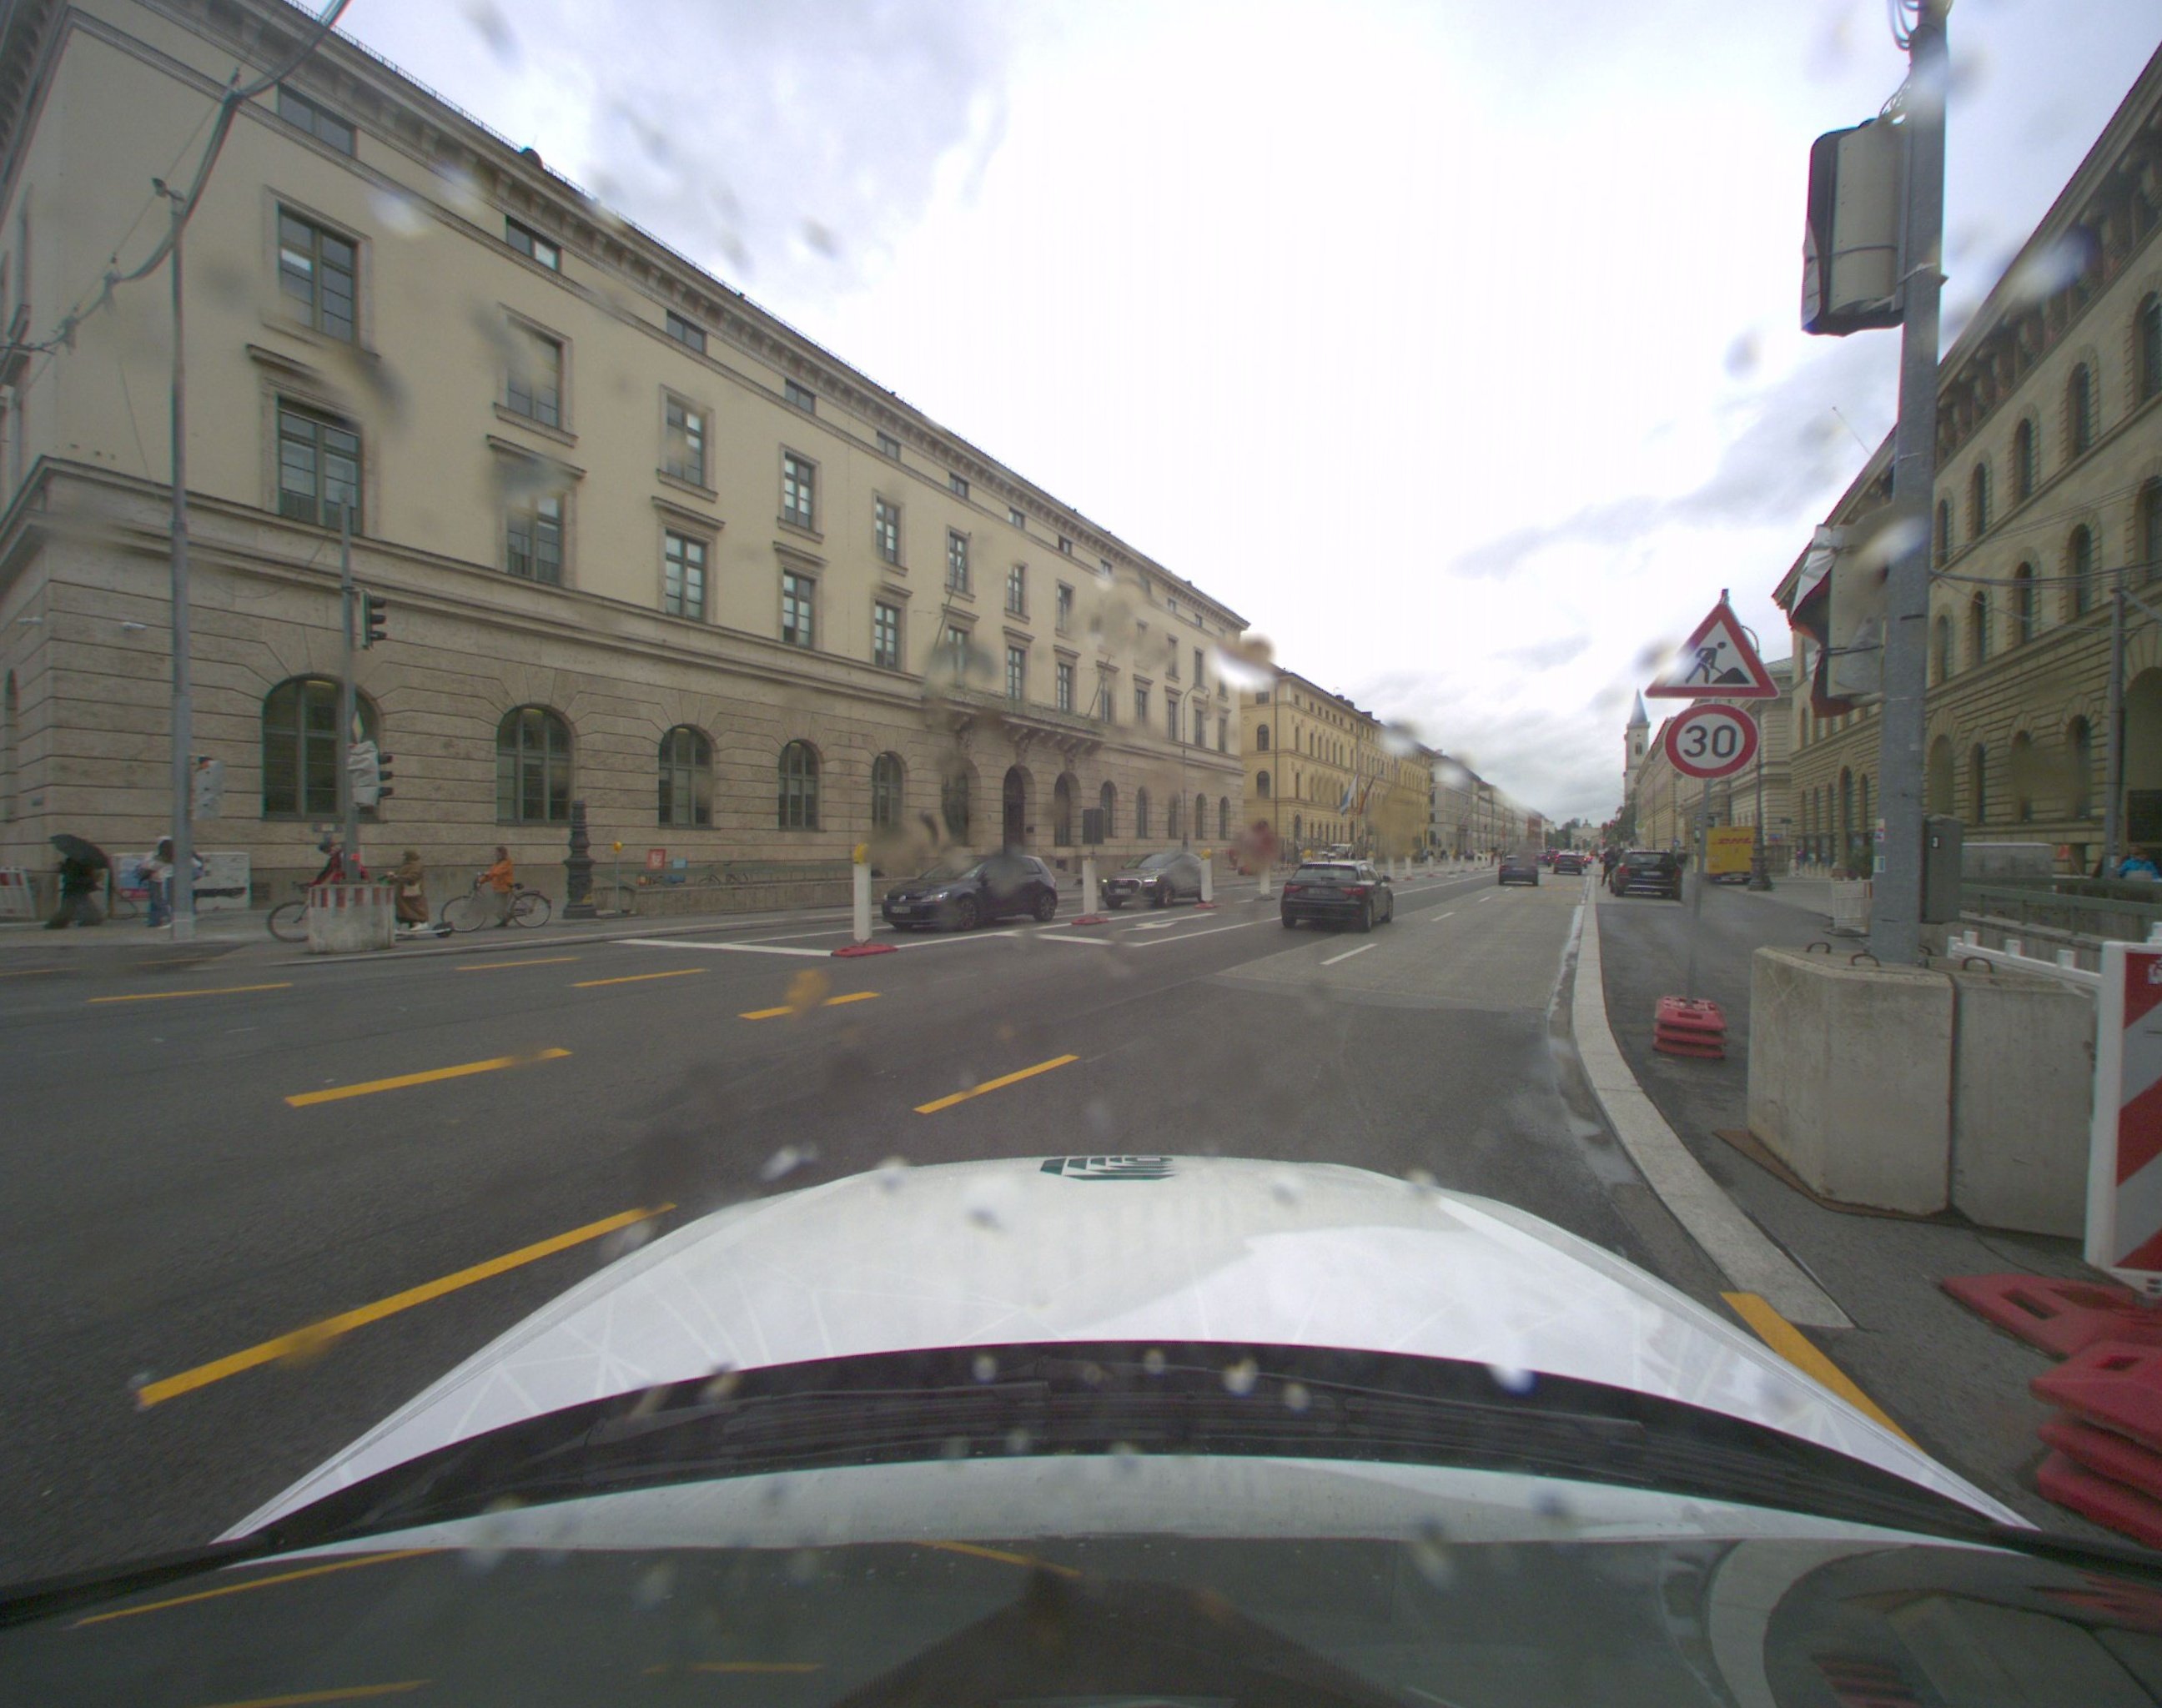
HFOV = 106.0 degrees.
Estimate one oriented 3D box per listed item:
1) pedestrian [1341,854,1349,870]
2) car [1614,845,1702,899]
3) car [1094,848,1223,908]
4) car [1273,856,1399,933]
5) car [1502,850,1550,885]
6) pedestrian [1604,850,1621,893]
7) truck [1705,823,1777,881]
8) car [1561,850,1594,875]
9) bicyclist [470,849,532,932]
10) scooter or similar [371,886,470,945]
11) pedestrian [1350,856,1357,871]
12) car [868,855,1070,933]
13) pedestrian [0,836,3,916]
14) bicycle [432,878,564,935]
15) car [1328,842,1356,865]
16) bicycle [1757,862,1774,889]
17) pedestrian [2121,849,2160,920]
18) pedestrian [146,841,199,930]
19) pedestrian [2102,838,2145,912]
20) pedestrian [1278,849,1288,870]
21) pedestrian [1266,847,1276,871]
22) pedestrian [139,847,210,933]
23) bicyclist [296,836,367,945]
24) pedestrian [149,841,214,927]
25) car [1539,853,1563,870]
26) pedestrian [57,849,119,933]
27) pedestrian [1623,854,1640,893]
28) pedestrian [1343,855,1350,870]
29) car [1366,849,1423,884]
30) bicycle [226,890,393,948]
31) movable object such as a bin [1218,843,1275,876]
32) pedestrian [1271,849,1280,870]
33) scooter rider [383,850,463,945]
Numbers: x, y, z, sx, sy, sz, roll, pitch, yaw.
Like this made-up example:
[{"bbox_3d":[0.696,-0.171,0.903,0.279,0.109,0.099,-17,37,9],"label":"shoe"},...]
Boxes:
[{"bbox_3d":[24.508,0.746,75.616,0.547,1.530,0.621,0,-1,29],"label":"pedestrian"},{"bbox_3d":[19.638,0.559,27.880,2.049,1.661,4.249,1,0,30],"label":"car"},{"bbox_3d":[2.350,0.651,23.472,1.768,1.567,4.605,-2,-1,32],"label":"car"},{"bbox_3d":[5.538,0.770,17.372,1.846,1.388,4.024,1,0,28],"label":"car"},{"bbox_3d":[21.970,0.669,40.126,1.752,1.617,4.025,0,-1,33],"label":"car"},{"bbox_3d":[23.423,0.757,35.897,0.609,1.875,0.545,0,-1,37],"label":"pedestrian"},{"bbox_3d":[33.522,-0.044,41.532,2.597,2.765,5.843,0,-1,36],"label":"truck"},{"bbox_3d":[36.932,0.618,60.494,1.974,1.772,4.025,0,0,33],"label":"car"},{"bbox_3d":[-11.620,0.711,16.321,0.785,1.615,0.751,0,-1,35],"label":"bicyclist"},{"bbox_3d":[-11.719,1.066,14.480,0.580,0.965,1.222,0,-1,34],"label":"scooter or similar"},{"bbox_3d":[26.619,0.914,79.618,0.534,1.411,0.621,0,-1,29],"label":"pedestrian"},{"bbox_3d":[-2.119,0.753,16.620,1.727,1.388,4.267,-2,-2,32],"label":"car"},{"bbox_3d":[-20.177,0.528,14.658,0.587,1.756,0.813,1,-1,-26],"label":"pedestrian"},{"bbox_3d":[-11.627,1.019,16.307,0.785,1.040,1.977,0,-1,35],"label":"bicycle"},{"bbox_3d":[26.758,-0.016,83.507,1.722,2.288,4.025,0,-1,33],"label":"car"},{"bbox_3d":[27.614,0.863,32.863,0.513,1.022,1.660,0,-1,39],"label":"bicycle"},{"bbox_3d":[23.523,0.665,18.082,0.634,1.554,0.494,2,-1,-40],"label":"pedestrian"},{"bbox_3d":[-17.554,0.594,15.740,0.535,1.672,0.621,0,-1,40],"label":"pedestrian"},{"bbox_3d":[24.759,0.487,19.343,0.679,1.712,0.553,1,-1,-32],"label":"pedestrian"},{"bbox_3d":[15.880,0.467,64.131,0.606,1.652,0.621,0,-1,29],"label":"pedestrian"},{"bbox_3d":[15.741,0.403,67.545,0.673,1.931,0.656,0,-1,29],"label":"pedestrian"},{"bbox_3d":[-16.996,0.661,15.276,0.658,1.557,0.825,0,-1,40],"label":"pedestrian"},{"bbox_3d":[-13.210,0.624,14.360,0.652,1.842,0.751,0,-1,35],"label":"bicyclist"},{"bbox_3d":[-18.164,0.591,16.446,0.809,1.694,0.722,0,-1,34],"label":"pedestrian"},{"bbox_3d":[50.050,0.746,86.695,1.974,1.772,4.025,0,0,33],"label":"car"},{"bbox_3d":[-18.731,0.674,15.357,0.809,1.527,0.671,0,-1,37],"label":"pedestrian"},{"bbox_3d":[23.974,0.838,35.486,0.609,1.702,0.545,0,-1,36],"label":"pedestrian"},{"bbox_3d":[26.093,0.843,79.942,0.534,1.406,0.621,0,-1,29],"label":"pedestrian"},{"bbox_3d":[15.065,0.597,38.992,1.752,1.617,4.025,0,-1,33],"label":"car"},{"bbox_3d":[-13.351,1.101,14.157,0.653,0.879,1.991,0,-1,35],"label":"bicycle"},{"bbox_3d":[10.906,0.384,53.350,1.496,2.014,6.013,0,-1,33],"label":"movable object such as a bin"},{"bbox_3d":[15.366,0.431,64.405,0.547,1.676,0.621,0,-1,29],"label":"pedestrian"},{"bbox_3d":[-11.709,0.758,14.509,0.585,1.622,0.941,0,-1,34],"label":"scooter rider"}]
